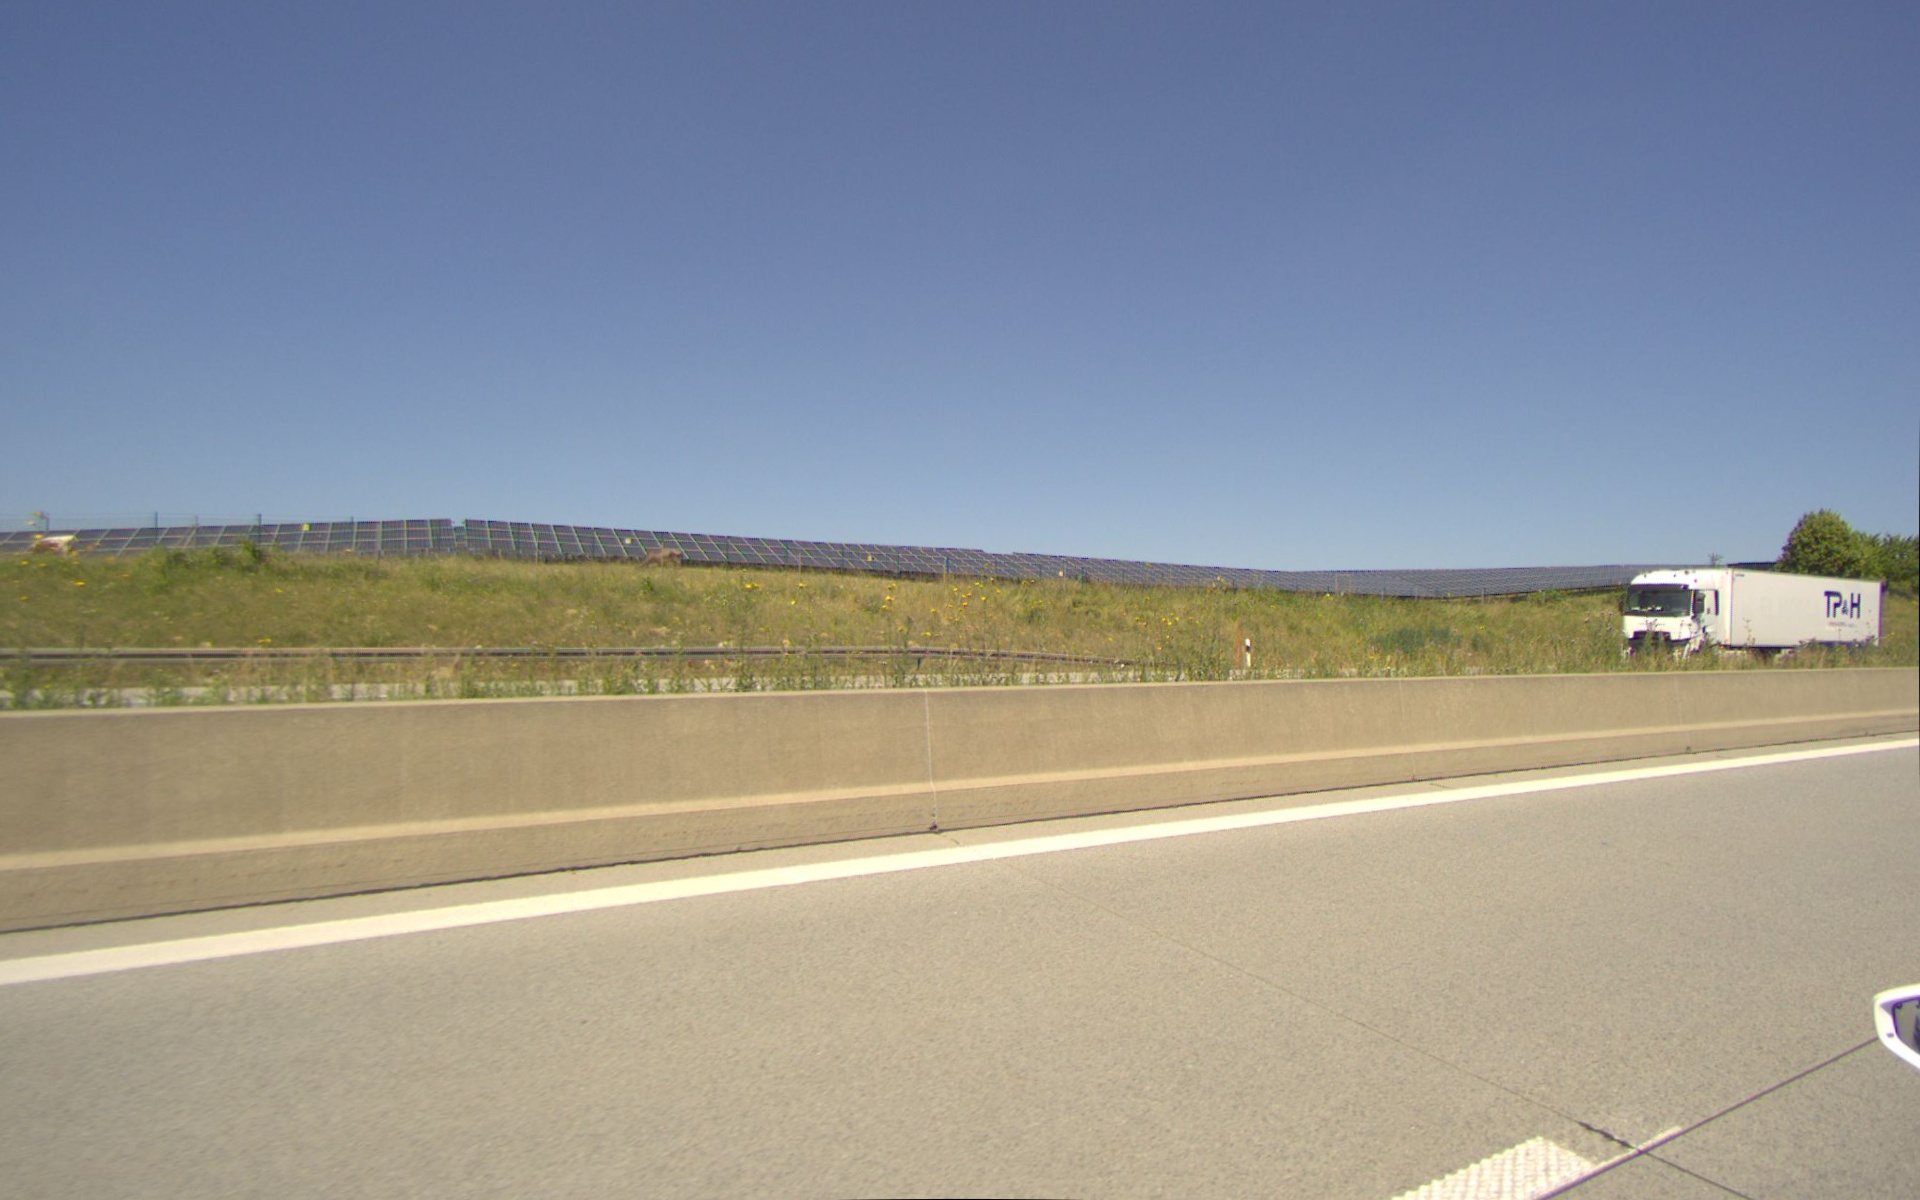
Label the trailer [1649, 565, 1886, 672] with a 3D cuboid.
[{"bbox_3d":[35.122,0.886,43.380,14.005,4.114,2.992,1,-1,-29],"label":"trailer"}]

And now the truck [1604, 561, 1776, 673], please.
[{"bbox_3d":[29.087,0.717,39.998,6.786,4.114,2.978,1,-1,-29],"label":"truck"}]
